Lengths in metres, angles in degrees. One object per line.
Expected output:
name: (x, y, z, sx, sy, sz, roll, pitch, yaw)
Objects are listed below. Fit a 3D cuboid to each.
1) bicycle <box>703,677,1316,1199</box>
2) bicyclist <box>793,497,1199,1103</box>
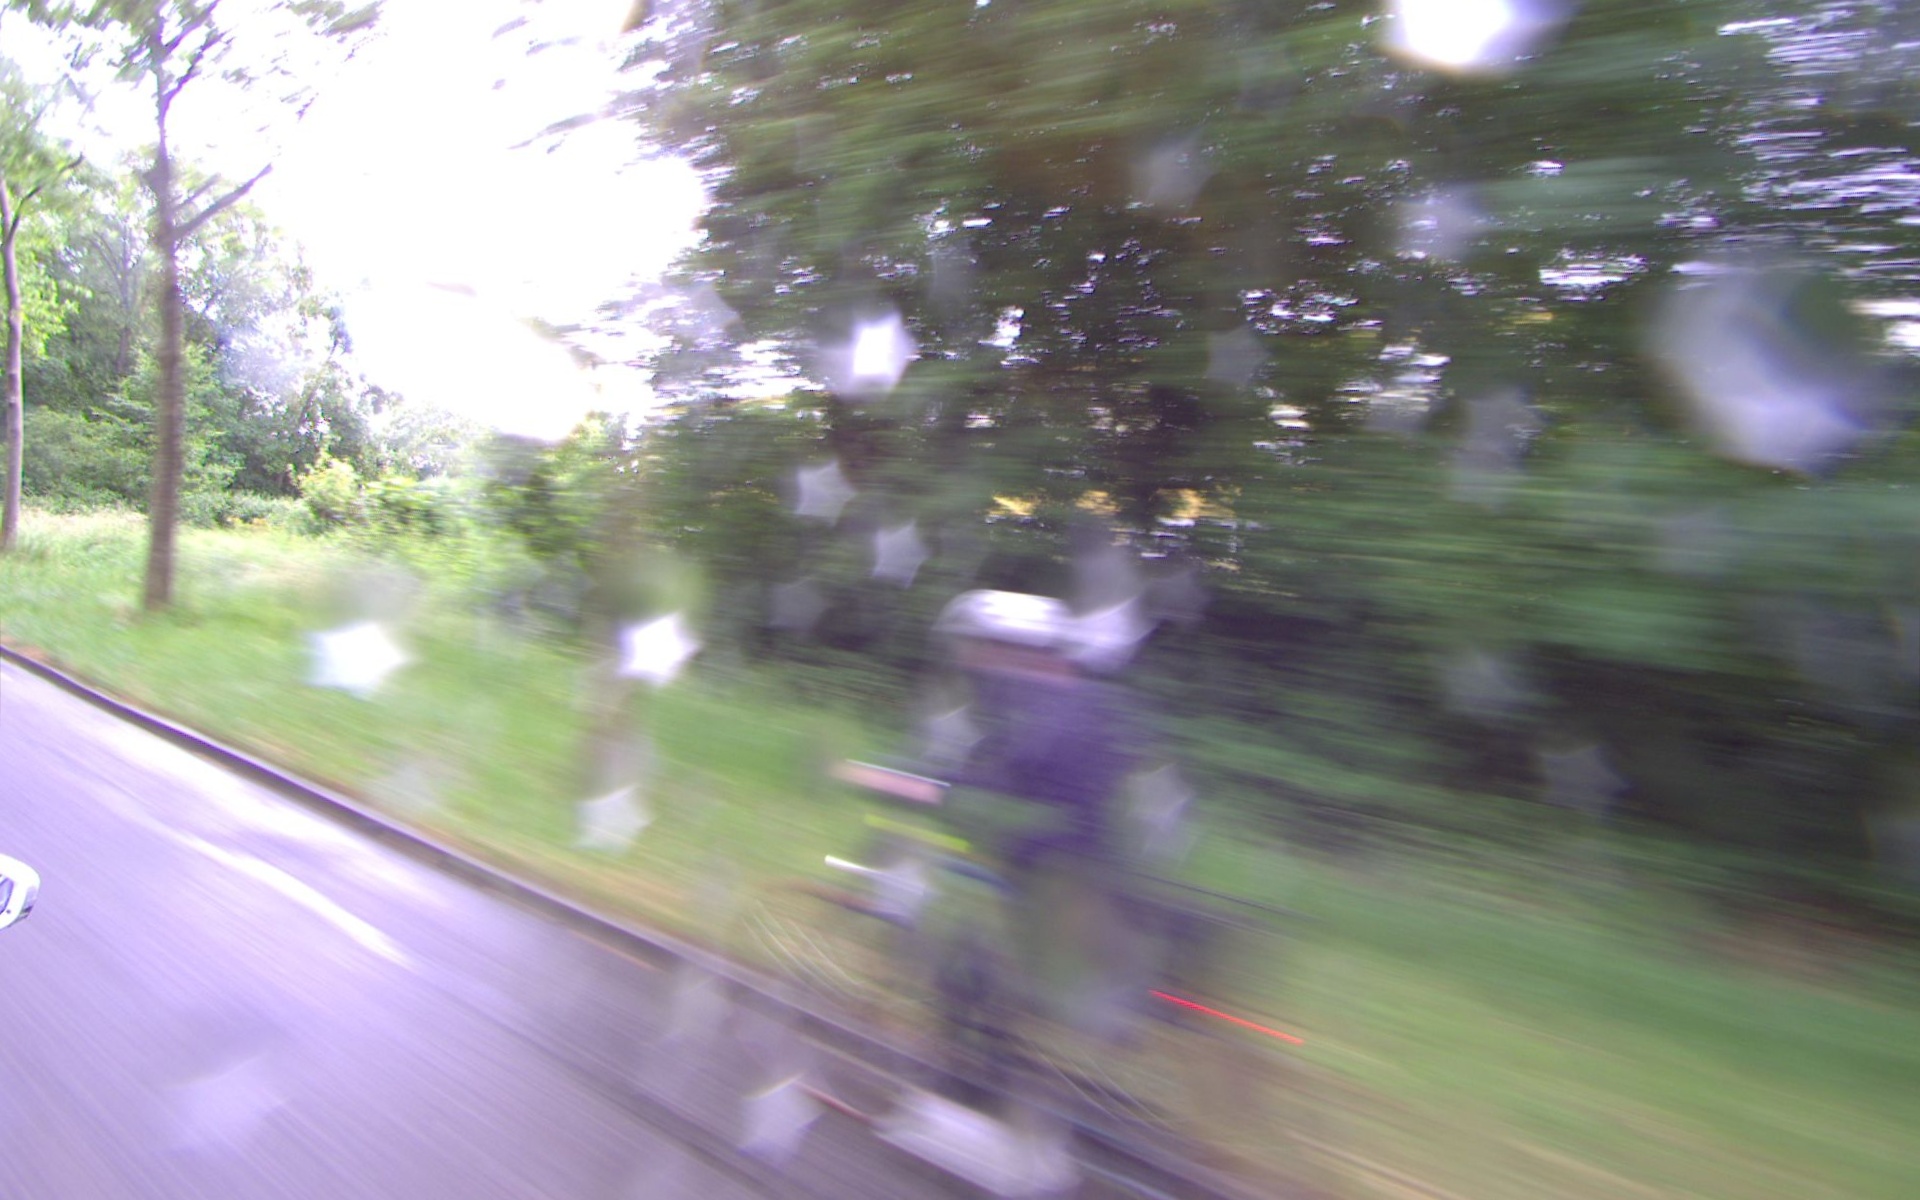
bicycle: (0.035, 0.932, 3.054, 1.806, 1.146, 0.452, 6, -3, 39)
bicyclist: (0.118, 0.515, 3.045, 0.788, 1.514, 0.696, 6, -2, 39)
